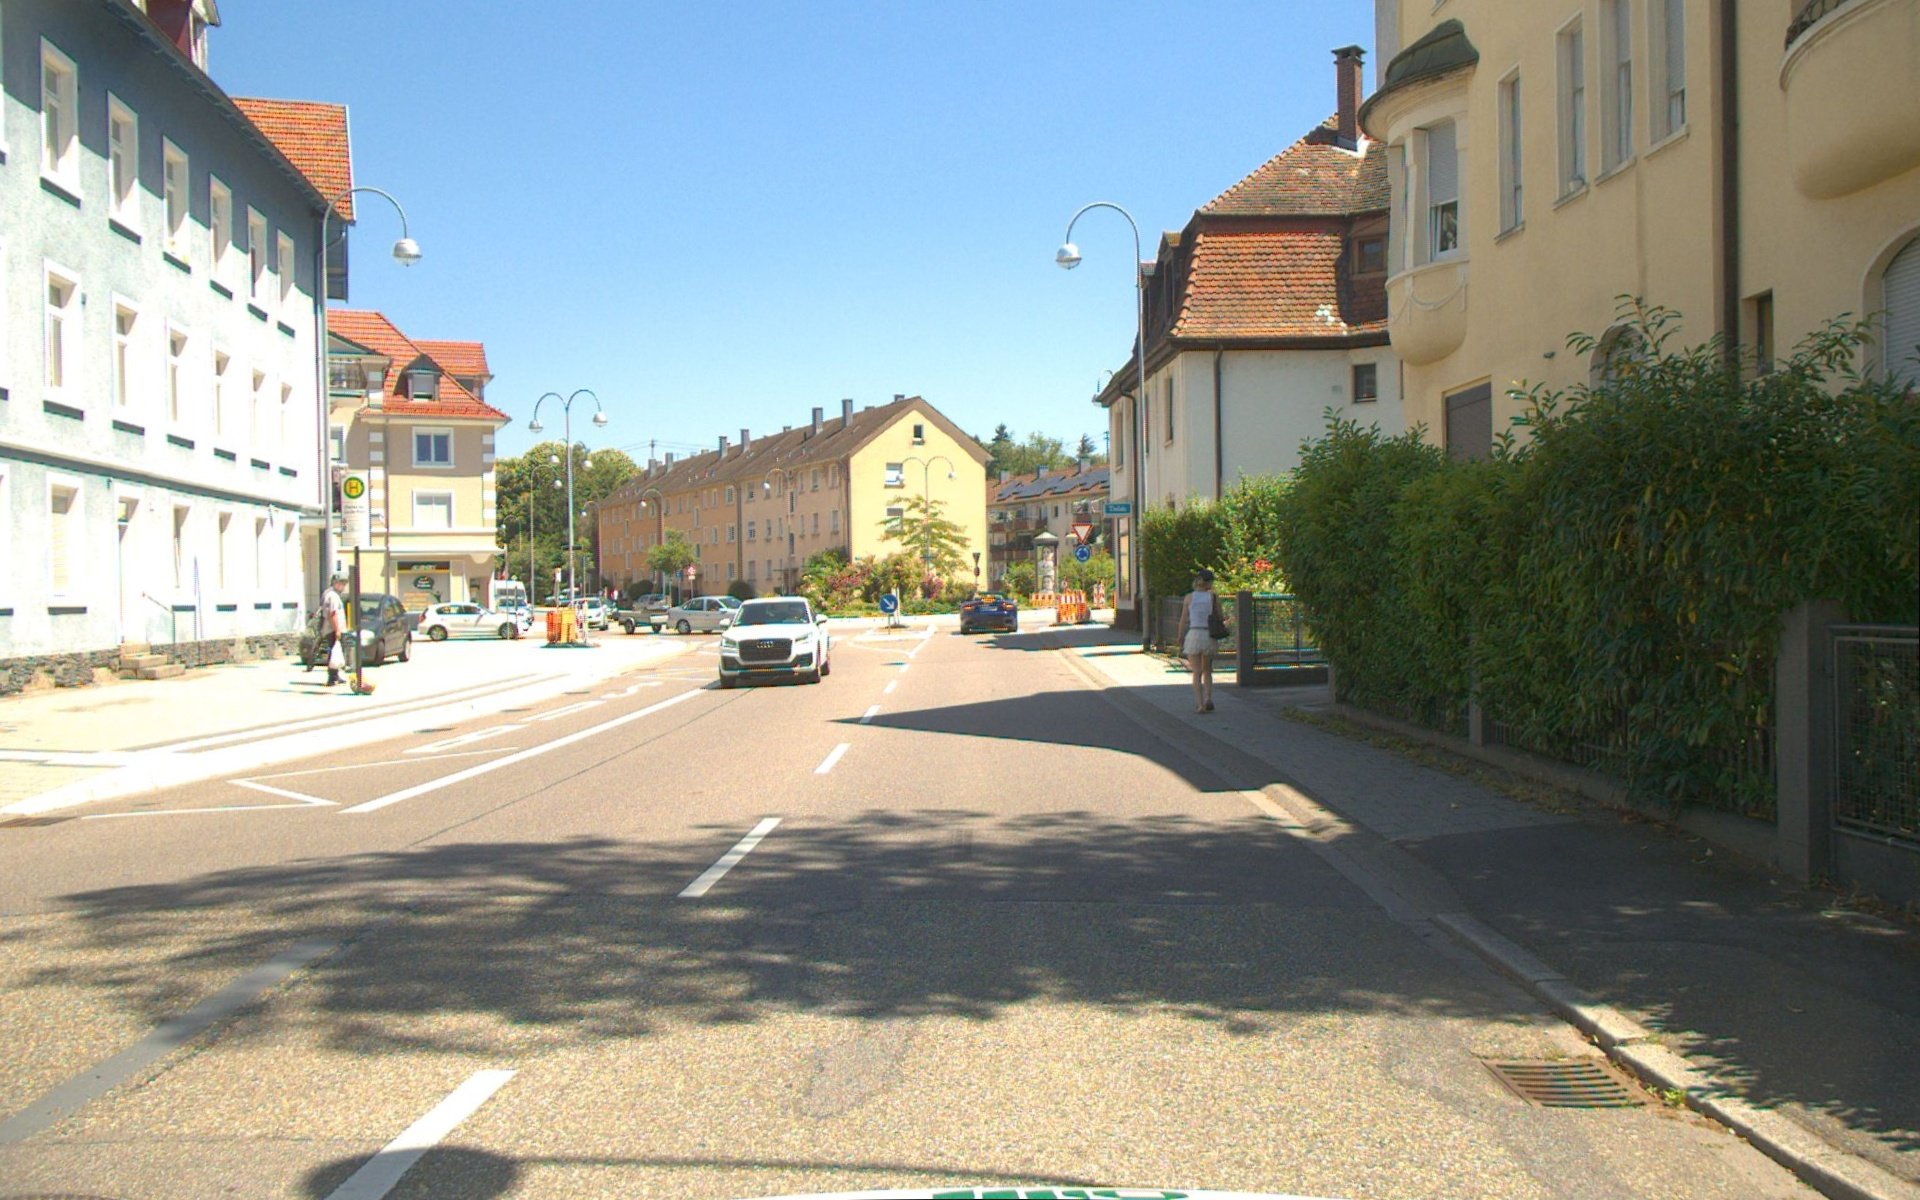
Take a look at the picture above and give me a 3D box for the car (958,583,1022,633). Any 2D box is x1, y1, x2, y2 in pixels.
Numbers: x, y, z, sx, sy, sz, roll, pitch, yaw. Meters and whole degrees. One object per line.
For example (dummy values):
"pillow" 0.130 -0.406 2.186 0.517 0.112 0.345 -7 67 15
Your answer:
"car" 0.951 0.301 54.709 1.833 1.557 4.504 -1 -1 -2

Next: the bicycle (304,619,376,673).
"bicycle" -12.059 0.889 32.222 0.485 0.994 1.974 3 -1 4

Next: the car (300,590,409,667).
"car" -13.126 0.635 36.006 1.549 1.561 3.766 -1 -1 -10

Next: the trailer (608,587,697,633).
"trailer" -12.076 0.384 64.929 3.131 1.747 1.751 0 -1 34

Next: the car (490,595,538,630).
"car" -22.950 0.631 84.960 1.752 1.715 4.660 -1 0 -23

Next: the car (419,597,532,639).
"car" -18.744 0.696 64.118 4.043 1.578 1.782 0 0 -12

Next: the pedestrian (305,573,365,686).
"pedestrian" -10.676 0.506 28.276 0.741 1.880 0.770 2 -1 -8

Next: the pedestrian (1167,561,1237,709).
"pedestrian" 2.823 0.404 19.355 0.611 1.672 0.771 -2 0 -4

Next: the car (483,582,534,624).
"car" -29.119 0.229 106.464 2.117 2.577 6.187 1 -1 -25

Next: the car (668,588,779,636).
"car" -9.013 0.463 63.037 4.042 1.777 1.782 0 -1 33

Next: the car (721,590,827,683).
"car" -3.376 0.676 30.389 1.785 1.557 3.945 -1 -1 -5

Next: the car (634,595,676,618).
"car" -21.273 0.463 115.366 1.792 1.526 3.962 1 -1 -28
